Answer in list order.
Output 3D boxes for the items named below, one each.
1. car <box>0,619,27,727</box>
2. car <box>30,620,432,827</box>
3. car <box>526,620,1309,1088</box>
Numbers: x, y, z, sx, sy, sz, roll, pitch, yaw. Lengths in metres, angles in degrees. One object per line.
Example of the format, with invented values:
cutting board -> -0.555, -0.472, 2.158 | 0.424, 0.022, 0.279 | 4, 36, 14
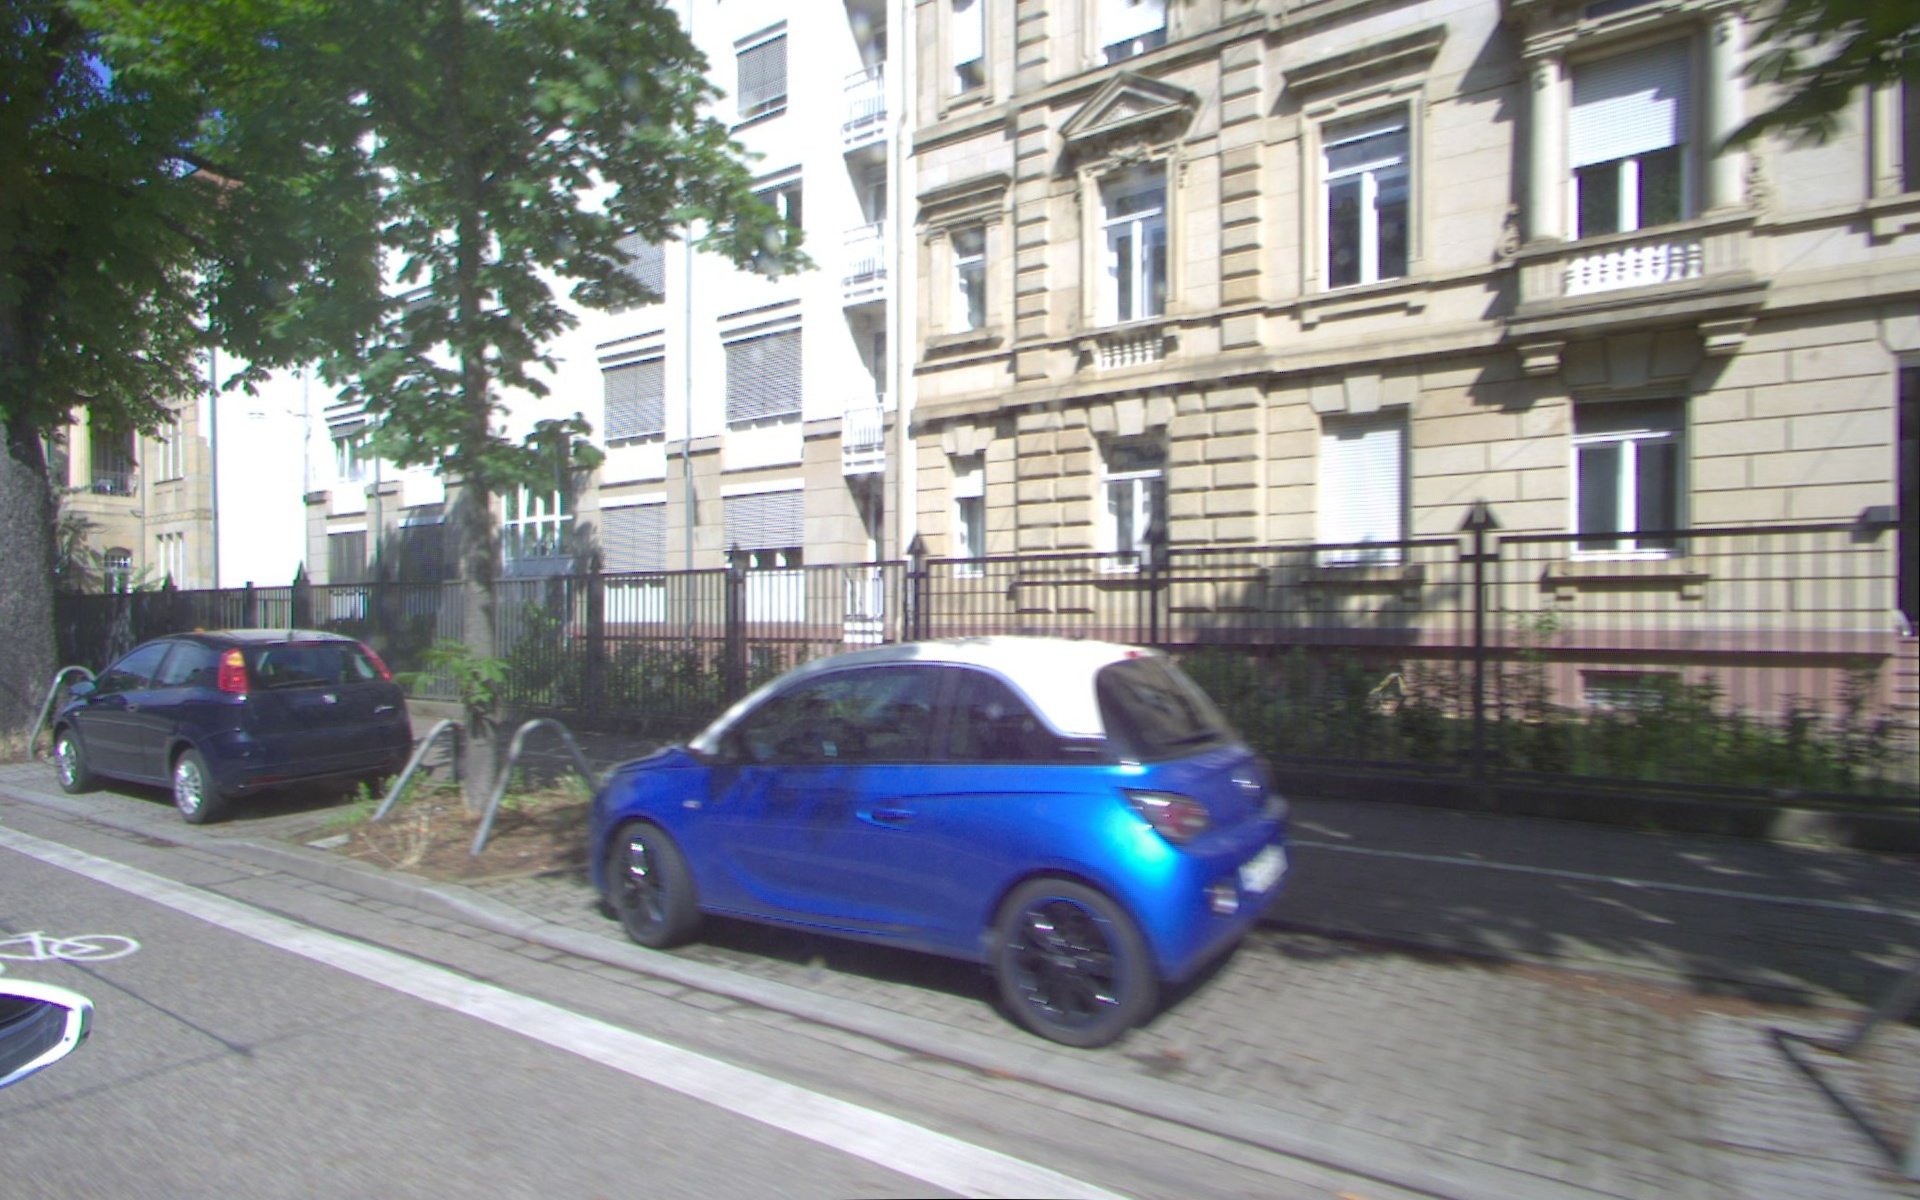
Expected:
car -> -15.458, 1.073, 14.722 | 3.793, 1.516, 1.620 | -1, 1, 33
car -> -6.739, 0.963, 9.195 | 3.702, 1.516, 1.637 | -1, 1, 31
car -> -0.292, 0.882, 4.970 | 3.574, 1.516, 1.636 | -1, 1, 31
